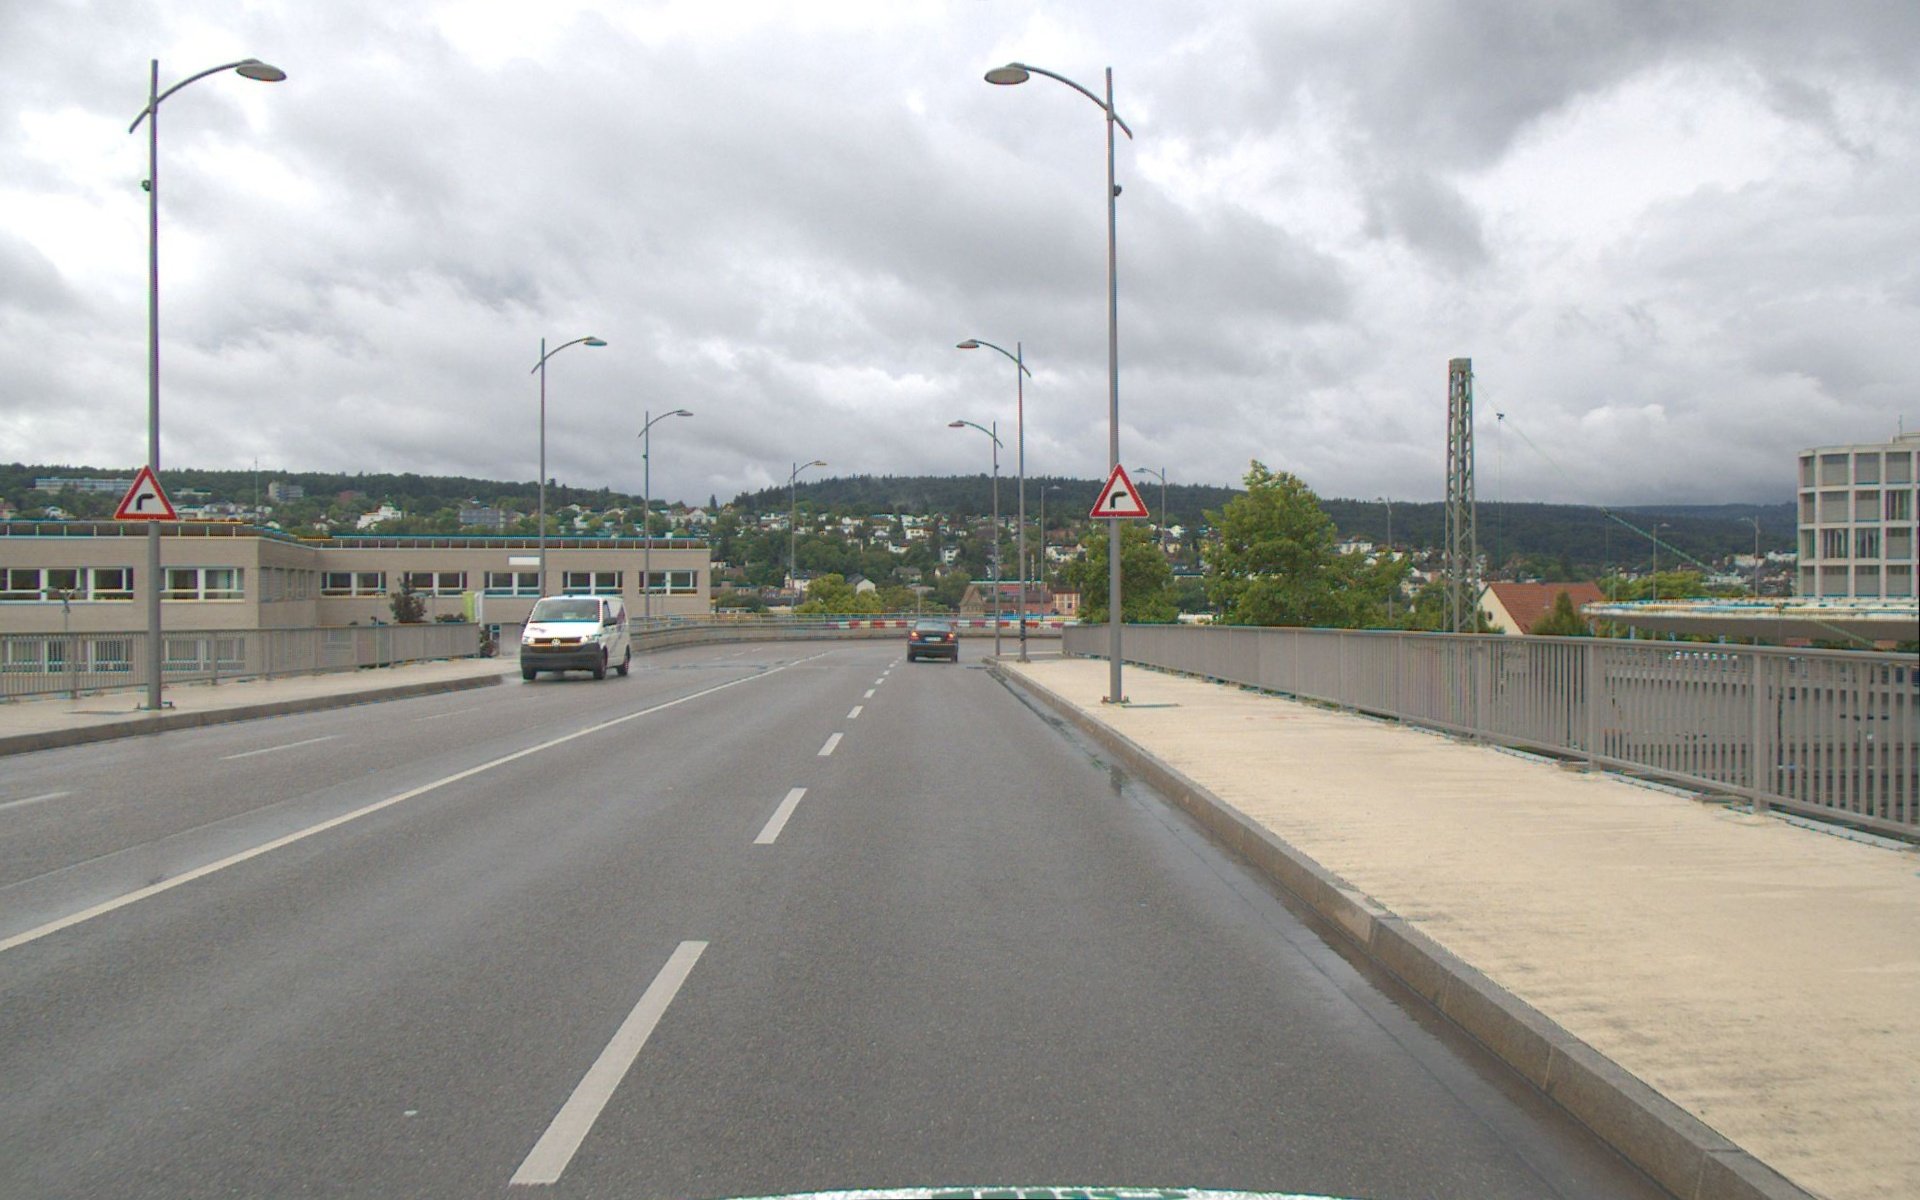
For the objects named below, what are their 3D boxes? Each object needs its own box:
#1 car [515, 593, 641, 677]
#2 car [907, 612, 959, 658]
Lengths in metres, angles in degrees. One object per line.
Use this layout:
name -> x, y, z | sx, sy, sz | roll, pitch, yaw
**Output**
car -> -9.005, 0.821, 39.392 | 1.848, 1.854, 4.957 | 1, -1, 0
car -> -0.893, 1.148, 55.068 | 1.671, 1.444, 3.724 | 1, -1, -1
